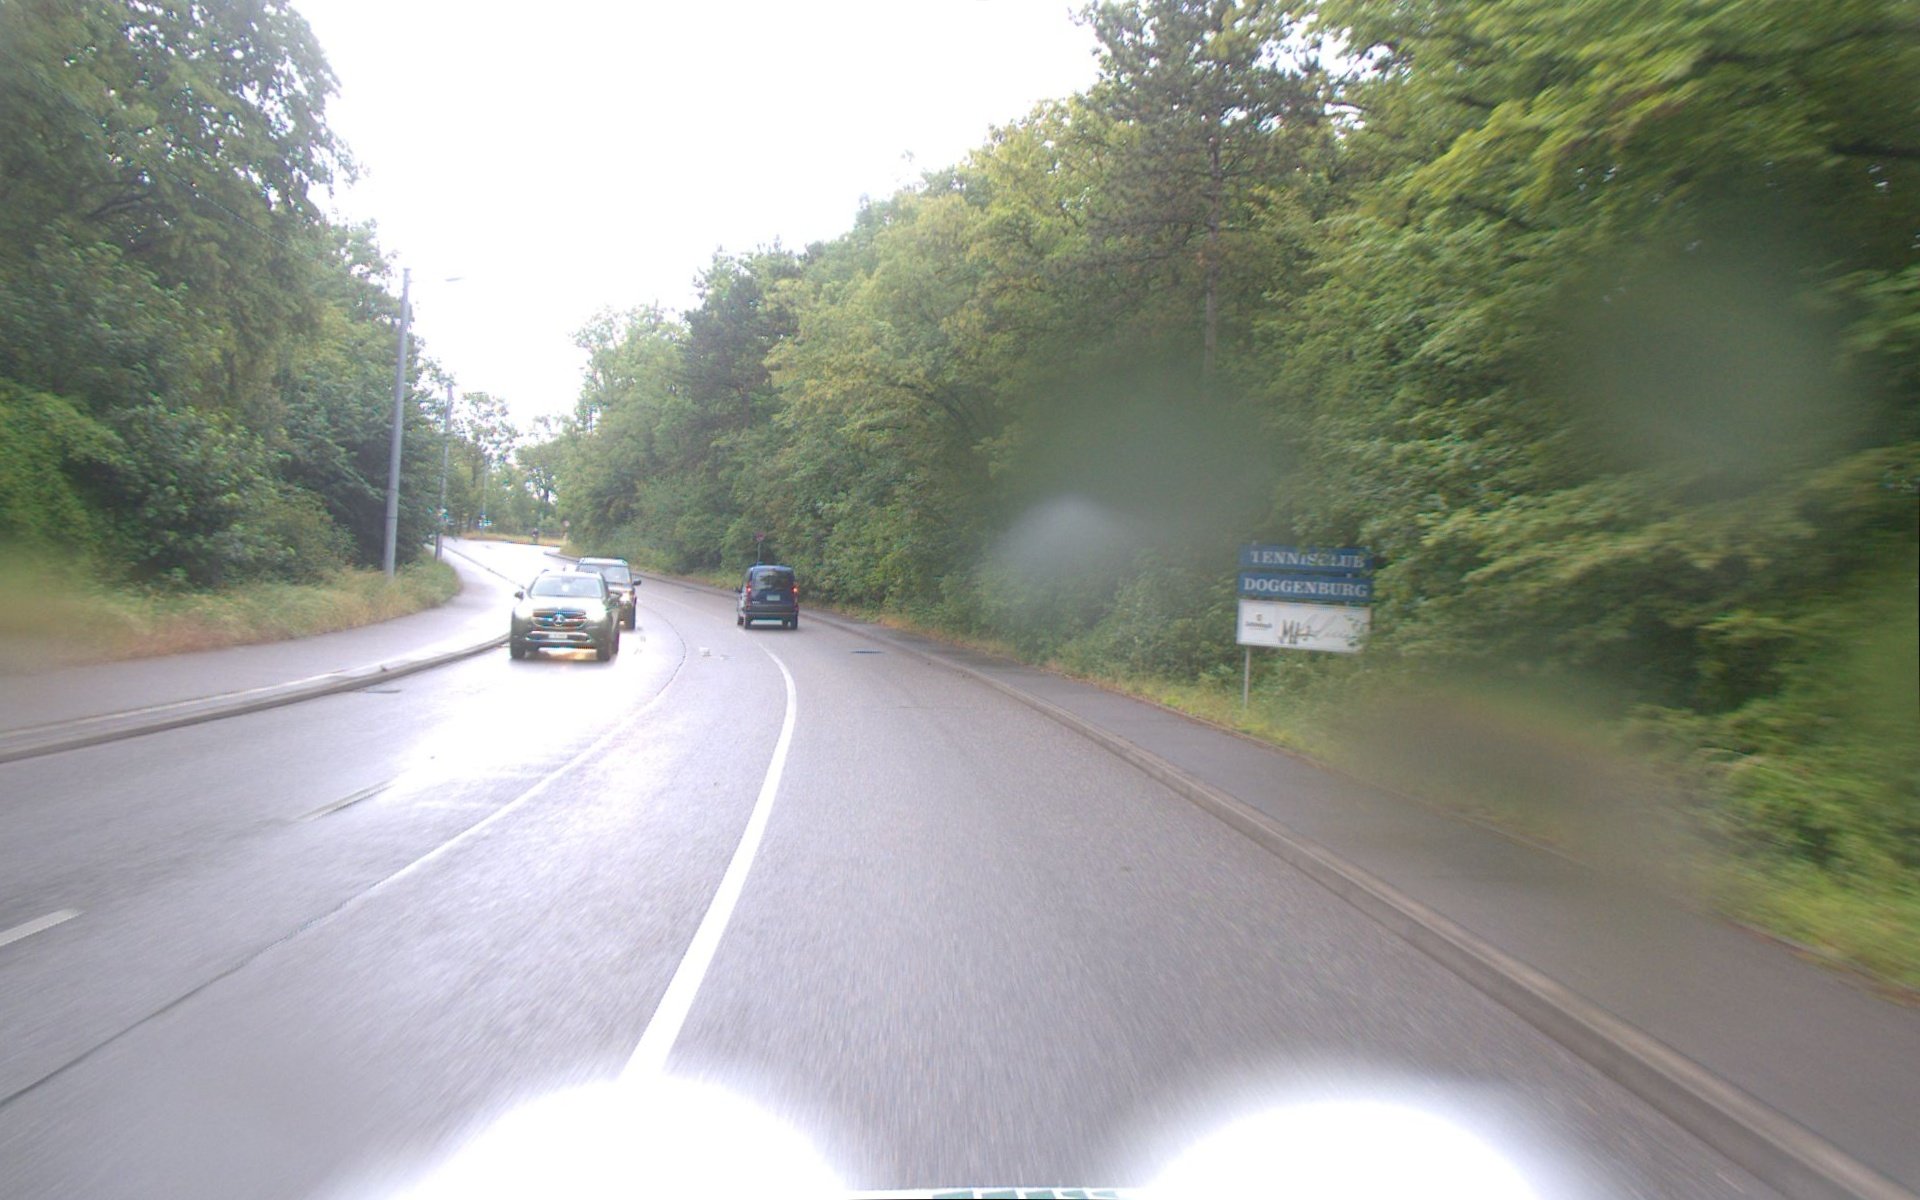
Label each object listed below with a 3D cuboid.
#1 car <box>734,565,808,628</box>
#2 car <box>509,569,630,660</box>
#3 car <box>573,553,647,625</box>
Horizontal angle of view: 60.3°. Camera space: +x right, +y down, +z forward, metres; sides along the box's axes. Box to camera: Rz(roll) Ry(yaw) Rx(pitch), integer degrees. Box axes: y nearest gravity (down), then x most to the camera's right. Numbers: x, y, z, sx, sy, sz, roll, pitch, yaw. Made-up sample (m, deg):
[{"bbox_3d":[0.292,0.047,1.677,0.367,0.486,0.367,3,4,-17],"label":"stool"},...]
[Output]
[{"bbox_3d":[-5.770,-0.114,50.138,1.795,1.825,3.987,1,1,-13],"label":"car"},{"bbox_3d":[-7.640,0.252,32.715,1.774,1.622,4.511,2,0,-7],"label":"car"},{"bbox_3d":[-10.237,-0.372,48.173,1.797,1.874,4.693,-2,3,-15],"label":"car"}]
